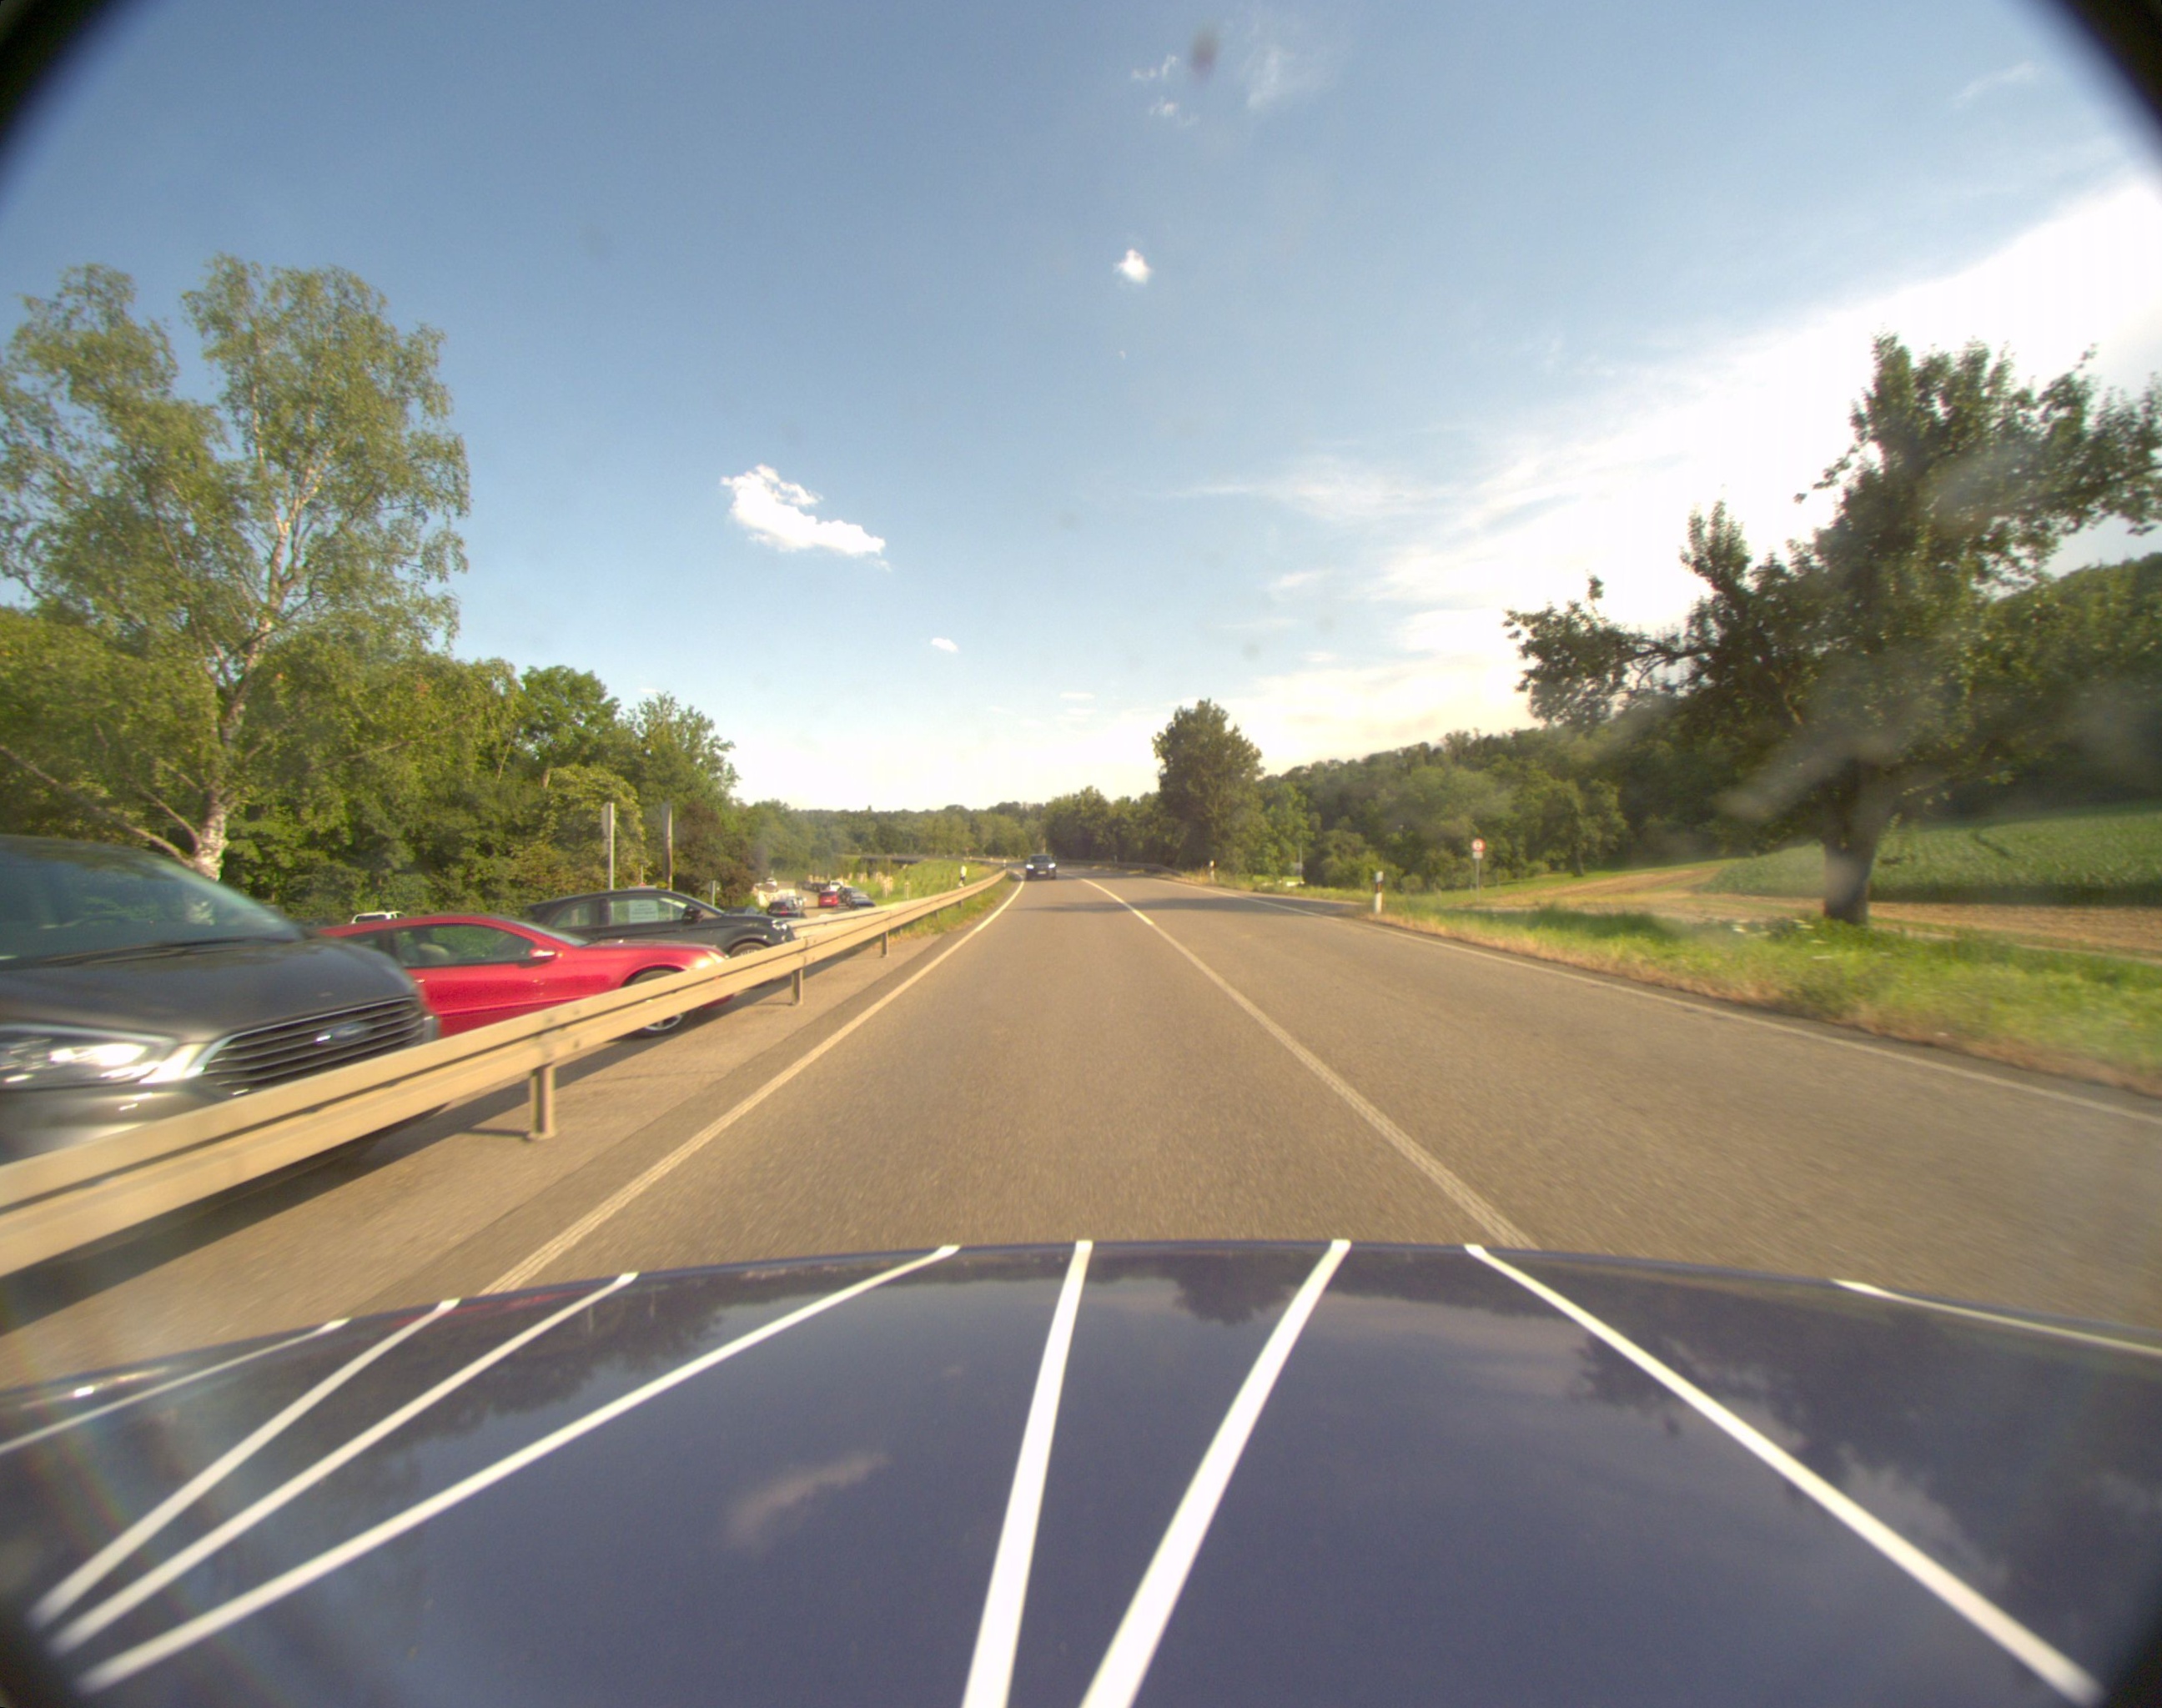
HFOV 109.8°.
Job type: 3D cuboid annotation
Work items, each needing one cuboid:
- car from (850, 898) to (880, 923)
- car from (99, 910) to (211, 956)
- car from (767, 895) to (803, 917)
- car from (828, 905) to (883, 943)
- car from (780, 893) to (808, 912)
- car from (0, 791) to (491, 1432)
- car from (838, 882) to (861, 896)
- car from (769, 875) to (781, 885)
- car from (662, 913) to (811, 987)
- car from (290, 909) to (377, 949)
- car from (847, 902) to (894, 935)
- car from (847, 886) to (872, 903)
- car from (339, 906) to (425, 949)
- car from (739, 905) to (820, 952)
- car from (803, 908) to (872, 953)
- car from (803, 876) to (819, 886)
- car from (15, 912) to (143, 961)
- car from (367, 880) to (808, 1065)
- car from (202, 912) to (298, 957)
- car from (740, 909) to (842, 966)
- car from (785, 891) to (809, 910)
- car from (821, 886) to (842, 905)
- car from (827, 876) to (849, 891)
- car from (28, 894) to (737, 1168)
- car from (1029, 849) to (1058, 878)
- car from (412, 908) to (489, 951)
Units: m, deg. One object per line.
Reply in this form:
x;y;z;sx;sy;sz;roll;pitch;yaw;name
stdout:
-15.582;4.057;54.594;1.900;1.550;4.776;2;-2;-17;car
-42.798;3.592;35.269;1.806;1.681;4.586;-2;0;-31;car
-23.239;4.063;59.798;1.707;1.390;4.780;1;0;-11;car
-11.197;3.448;38.004;1.898;1.550;4.780;2;-2;-8;car
-24.513;4.111;64.978;1.707;1.390;3.940;1;0;-14;car
-5.908;1.077;3.090;5.154;1.932;1.974;-7;0;-3;car
-28.260;4.243;92.520;1.901;1.550;4.773;2;-2;-26;car
-56.390;4.767;139.909;1.662;1.657;4.698;-1;1;-25;car
-9.248;2.526;20.901;1.897;1.550;4.783;1;-2;0;car
-37.112;3.667;37.859;1.901;1.550;4.771;-1;0;-30;car
-11.853;3.603;43.039;1.898;1.550;4.780;2;-2;-8;car
-22.237;4.059;76.213;1.900;1.550;4.774;2;-2;-23;car
-34.584;3.572;37.743;1.806;1.681;4.587;-2;0;-25;car
-12.978;3.173;33.065;1.897;1.664;4.781;1;-2;-5;car
-10.211;3.184;32.215;1.898;1.550;4.780;2;-2;-8;car
-46.999;4.747;132.107;1.827;1.648;4.247;0;-1;-30;car
-44.429;3.602;33.854;1.806;1.681;4.586;-2;0;-31;car
-6.052;1.327;9.868;4.330;1.501;1.717;-6;1;-33;car
-39.839;3.804;36.566;1.806;1.681;4.586;-2;0;-31;car
-9.848;2.783;26.231;1.897;1.550;4.782;1;-2;-3;car
-25.688;4.181;68.849;1.707;1.501;3.939;-1;0;-16;car
-24.379;4.032;74.257;1.900;1.676;5.079;0;-1;-19;car
-34.005;4.111;106.233;2.129;2.005;5.368;2;-2;-26;car
-5.708;1.319;7.044;4.330;1.391;1.717;-6;0;-30;car
-2.350;0.580;48.208;1.751;1.645;4.304;-1;2;-2;car
-31.667;3.718;38.315;1.806;1.681;4.587;-2;0;-25;car
